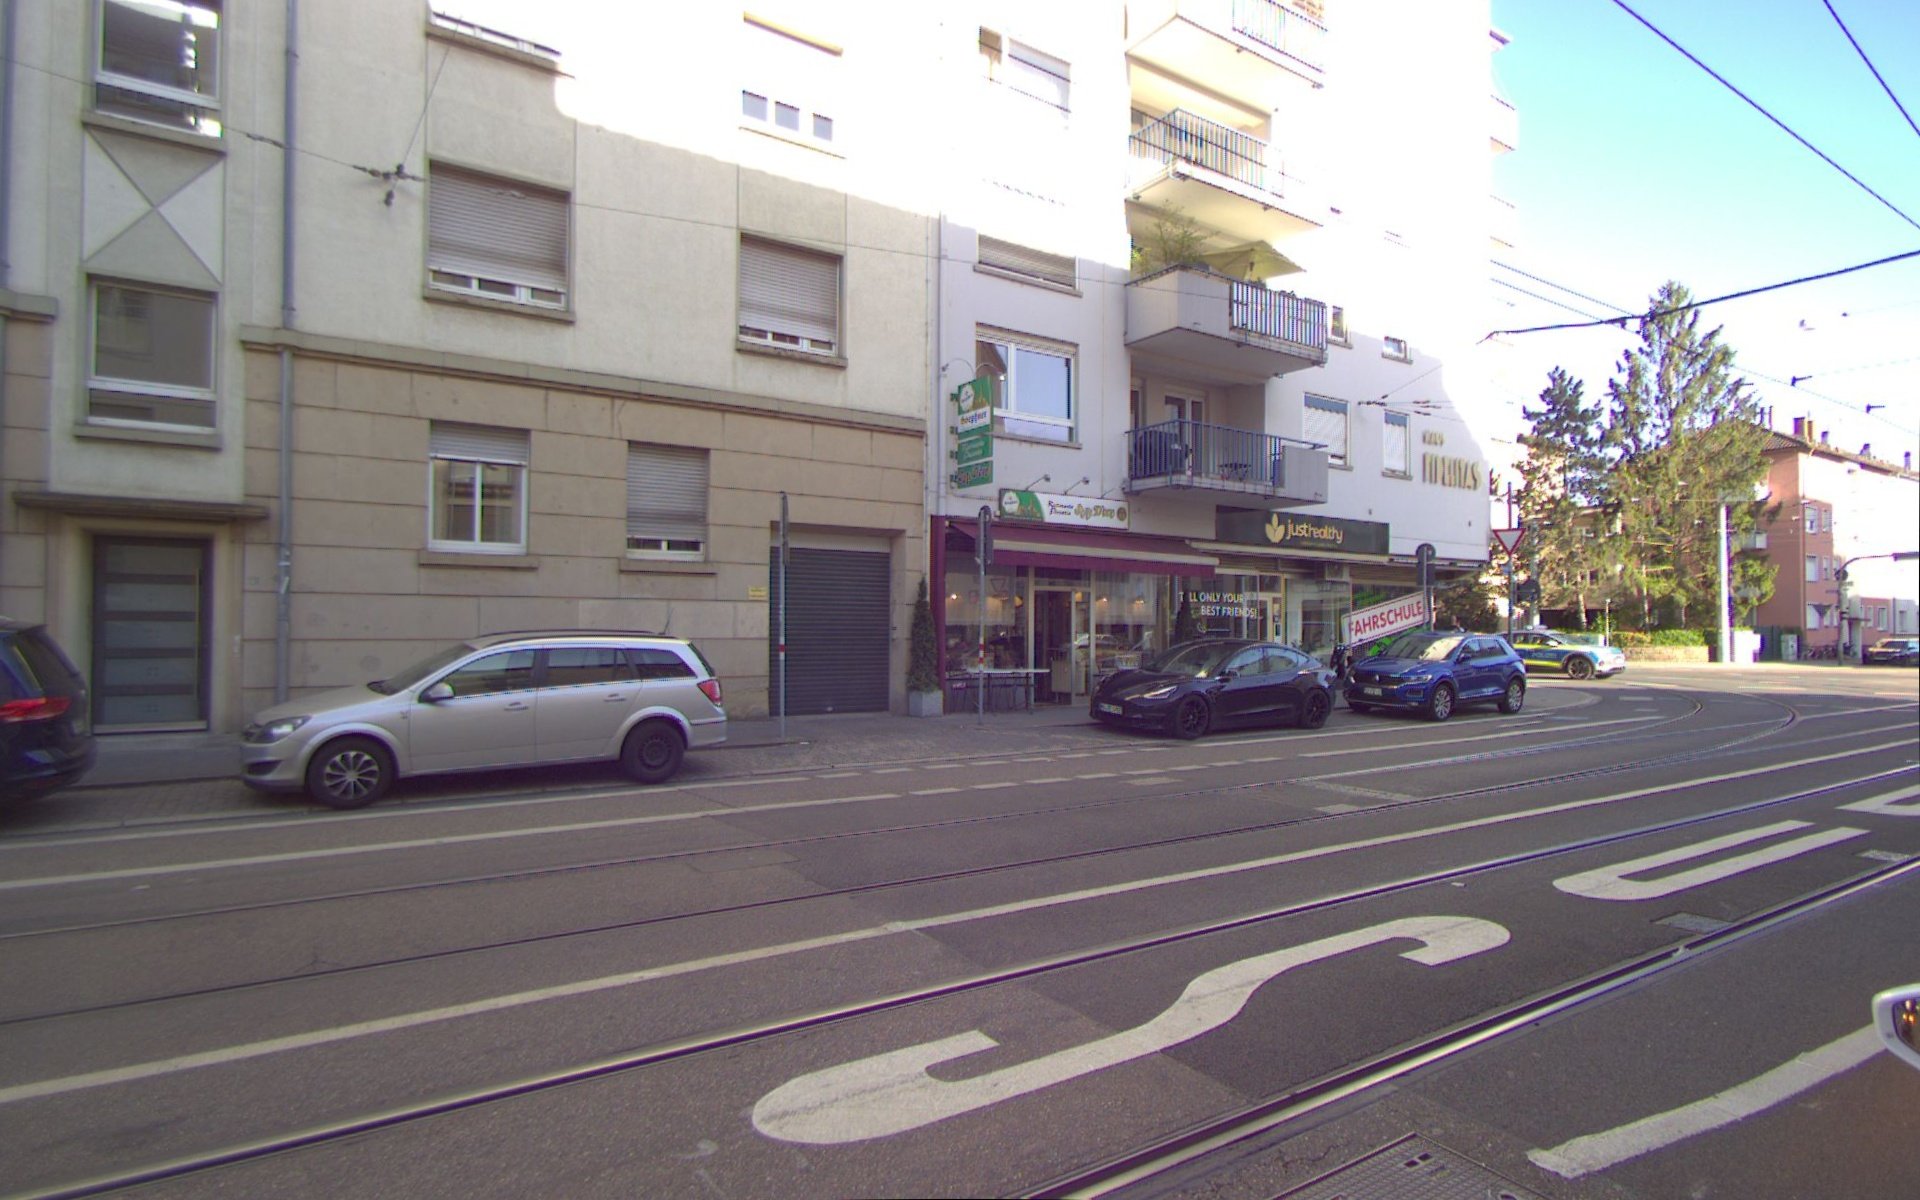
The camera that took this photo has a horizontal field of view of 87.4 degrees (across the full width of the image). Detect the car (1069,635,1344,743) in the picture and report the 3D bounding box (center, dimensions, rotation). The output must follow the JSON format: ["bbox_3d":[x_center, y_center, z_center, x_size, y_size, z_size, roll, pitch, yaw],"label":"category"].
[{"bbox_3d":[4.010,1.318,16.041,4.442,1.422,1.714,1,1,-34],"label":"car"}]

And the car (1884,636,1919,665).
[{"bbox_3d":[54.272,2.841,57.012,4.006,1.539,1.938,1,-2,-36],"label":"car"}]

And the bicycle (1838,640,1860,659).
[{"bbox_3d":[53.156,2.938,60.025,1.892,1.097,0.605,1,-2,-37],"label":"bicycle"}]

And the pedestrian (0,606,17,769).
[{"bbox_3d":[-9.578,0.836,9.612,0.686,1.562,0.565,1,-2,-32],"label":"pedestrian"}]

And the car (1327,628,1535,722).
[{"bbox_3d":[8.989,1.348,19.084,4.072,1.525,1.714,1,1,-34],"label":"car"}]

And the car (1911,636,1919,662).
[{"bbox_3d":[58.126,2.897,59.451,3.961,1.539,1.938,1,-2,-36],"label":"car"}]

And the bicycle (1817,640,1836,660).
[{"bbox_3d":[47.604,2.747,55.165,1.895,1.097,0.532,2,-2,-41],"label":"bicycle"}]

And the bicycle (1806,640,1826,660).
[{"bbox_3d":[47.177,2.735,55.340,1.895,1.097,0.532,2,-2,-41],"label":"bicycle"}]

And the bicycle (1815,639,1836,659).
[{"bbox_3d":[50.739,2.861,58.881,1.892,1.097,0.533,1,-2,-37],"label":"bicycle"}]

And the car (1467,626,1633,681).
[{"bbox_3d":[19.721,1.746,33.791,1.774,1.706,4.507,1,-2,-34],"label":"car"}]

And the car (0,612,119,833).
[{"bbox_3d":[-8.997,0.883,7.191,4.343,1.620,1.785,1,-1,-34],"label":"car"}]

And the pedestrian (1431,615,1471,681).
[{"bbox_3d":[14.009,1.354,28.671,0.707,1.859,0.771,0,-1,-3],"label":"pedestrian"}]

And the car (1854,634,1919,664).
[{"bbox_3d":[49.723,2.617,53.783,3.961,1.539,1.938,1,-2,-36],"label":"car"}]

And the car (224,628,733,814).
[{"bbox_3d":[-4.710,1.052,10.213,4.343,1.497,1.785,1,-1,-34],"label":"car"}]

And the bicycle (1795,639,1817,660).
[{"bbox_3d":[46.881,2.725,55.632,1.895,1.097,0.634,2,-2,-41],"label":"bicycle"}]
